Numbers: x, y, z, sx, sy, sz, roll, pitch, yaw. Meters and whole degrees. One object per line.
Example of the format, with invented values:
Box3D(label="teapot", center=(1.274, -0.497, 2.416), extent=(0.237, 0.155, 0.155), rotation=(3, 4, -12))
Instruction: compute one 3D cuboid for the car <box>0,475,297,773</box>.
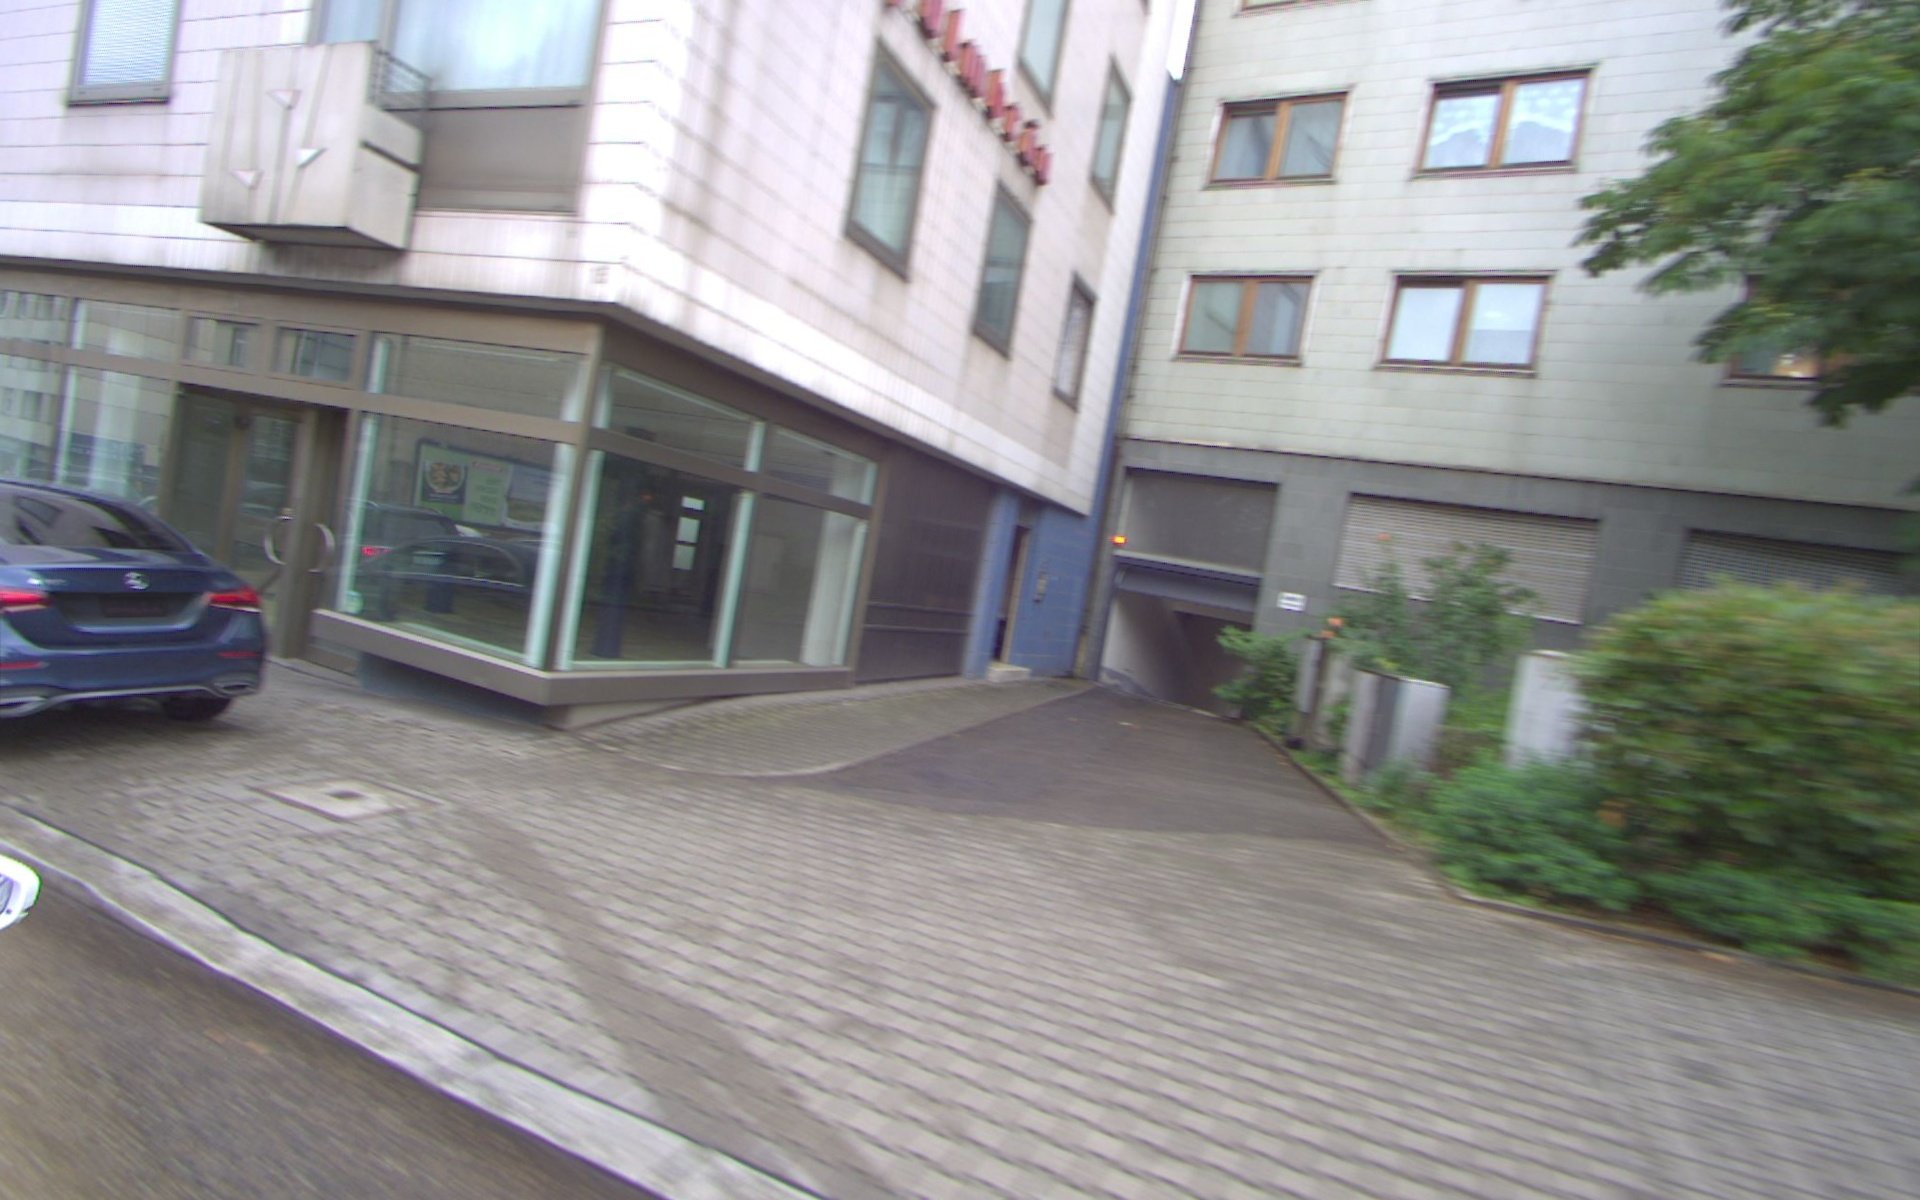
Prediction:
Box3D(label="car", center=(-6.346, -0.092, 6.168), extent=(4.300, 1.411, 1.766), rotation=(7, 3, 25))
